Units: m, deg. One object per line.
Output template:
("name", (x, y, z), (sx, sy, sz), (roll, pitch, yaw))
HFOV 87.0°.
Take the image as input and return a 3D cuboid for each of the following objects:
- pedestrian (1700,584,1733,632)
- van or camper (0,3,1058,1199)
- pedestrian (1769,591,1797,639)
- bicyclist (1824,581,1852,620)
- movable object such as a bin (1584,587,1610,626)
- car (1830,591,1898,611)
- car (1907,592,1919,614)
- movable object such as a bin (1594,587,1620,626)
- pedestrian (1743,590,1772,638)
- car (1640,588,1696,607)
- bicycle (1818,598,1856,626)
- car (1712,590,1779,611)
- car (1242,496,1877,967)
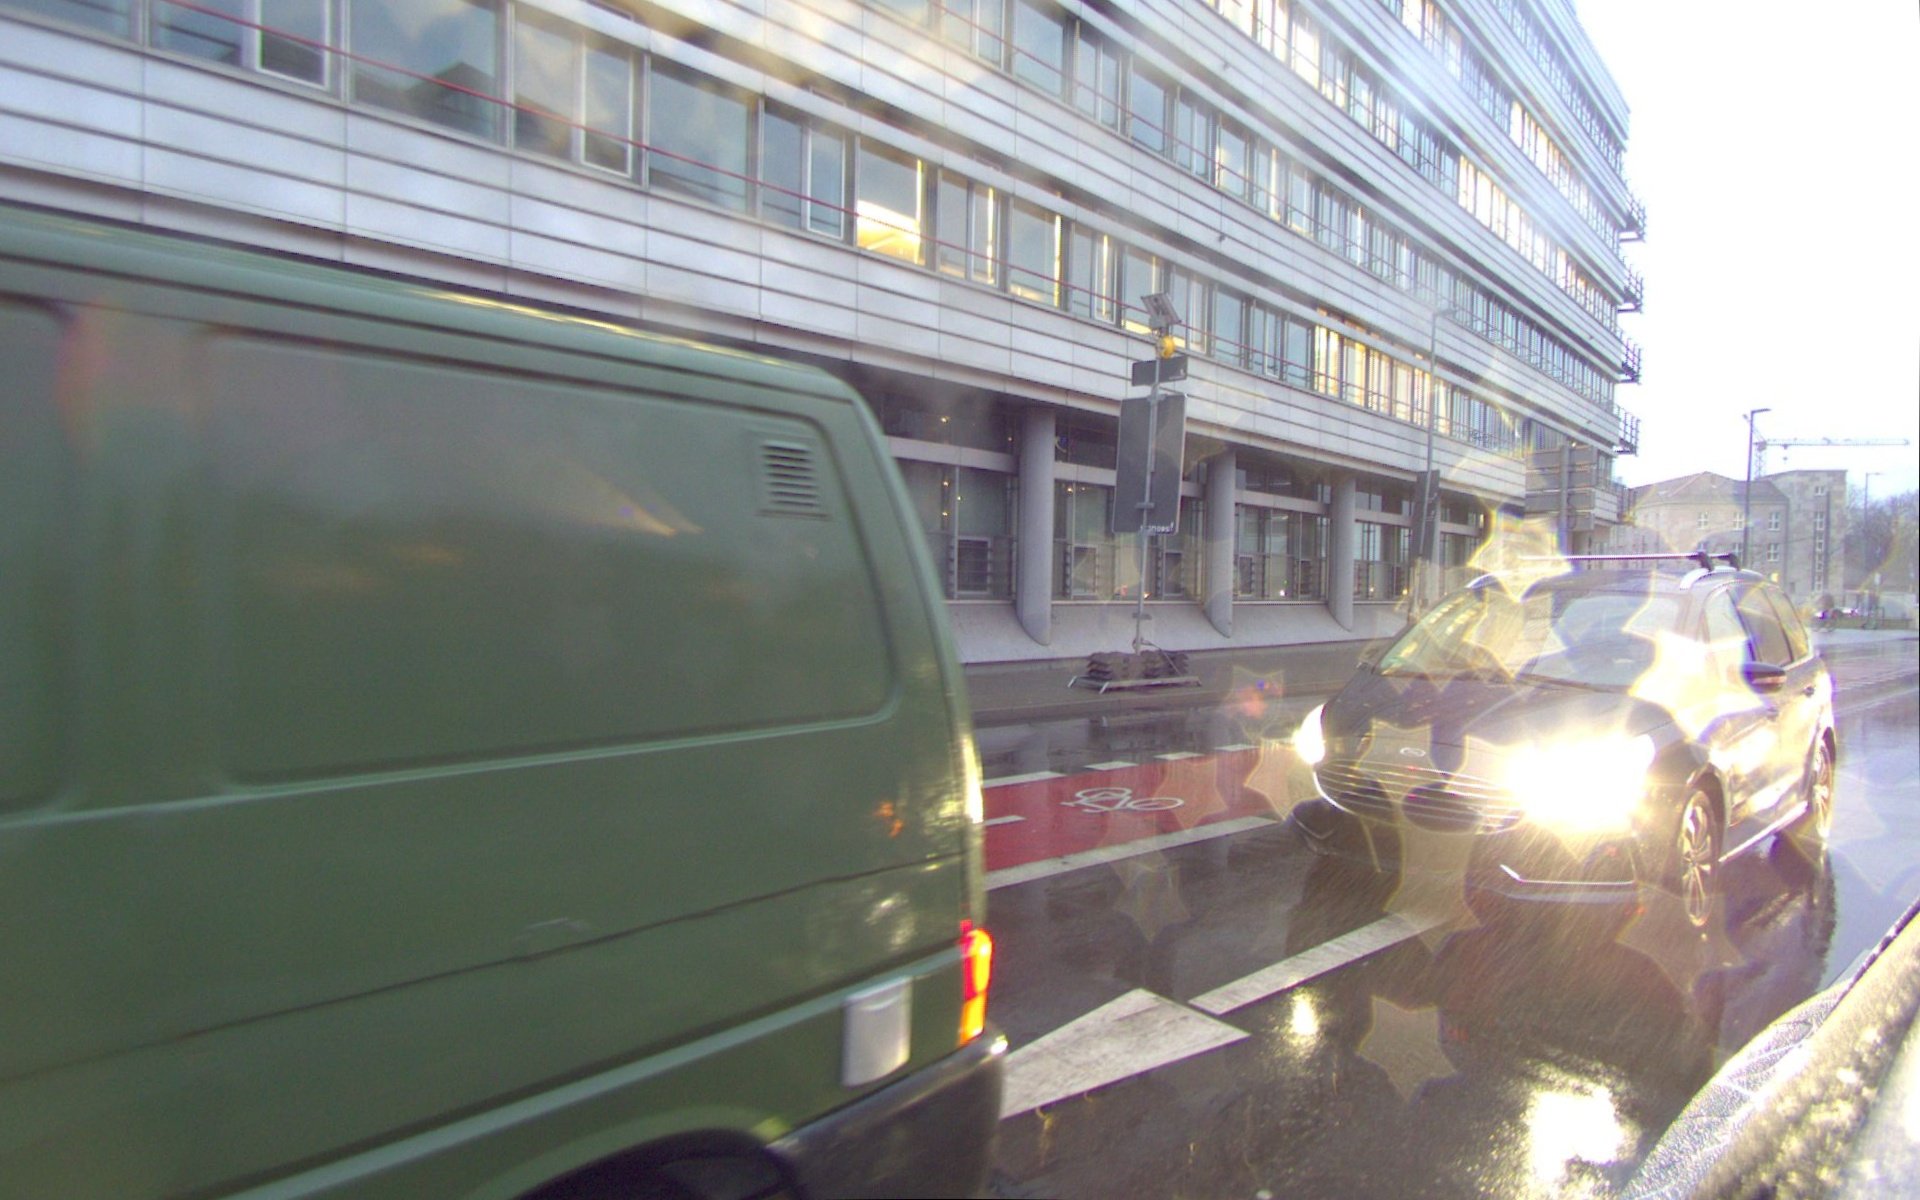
("pedestrian", (28.736, 0.296, 38.438), (0.953, 1.722, 0.746), (0, 4, -44))
("van or camper", (-2.037, 0.435, 1.012), (4.341, 1.931, 1.760), (0, 0, -41))
("pedestrian", (29.734, 0.529, 36.577), (0.870, 1.689, 0.615), (0, 3, -44))
("bicyclist", (40.679, 0.021, 46.893), (0.790, 1.820, 0.673), (1, 1, -25))
("movable object such as a bin", (24.454, 0.237, 38.848), (0.826, 1.446, 0.665), (0, 1, -44))
("car", (73.896, 0.076, 82.779), (1.743, 1.556, 3.775), (1, 1, -24))
("car", (76.194, 0.257, 78.290), (1.743, 1.730, 3.932), (0, 1, -26))
("movable object such as a bin", (25.687, 0.254, 40.167), (0.826, 1.495, 0.665), (0, 1, -44))
("pedestrian", (29.164, 0.498, 37.003), (0.870, 1.723, 0.650), (0, 3, -44))
("car", (68.213, -0.275, 97.562), (1.958, 1.693, 4.013), (1, 1, -24))
("bicycle", (40.683, 0.550, 46.933), (1.725, 1.213, 0.683), (0, 2, -26))
("car", (70.666, 0.052, 91.129), (1.958, 1.782, 4.386), (1, 1, -24))
("car", (3.867, 0.506, 6.147), (4.587, 1.834, 1.887), (0, 0, -39))
